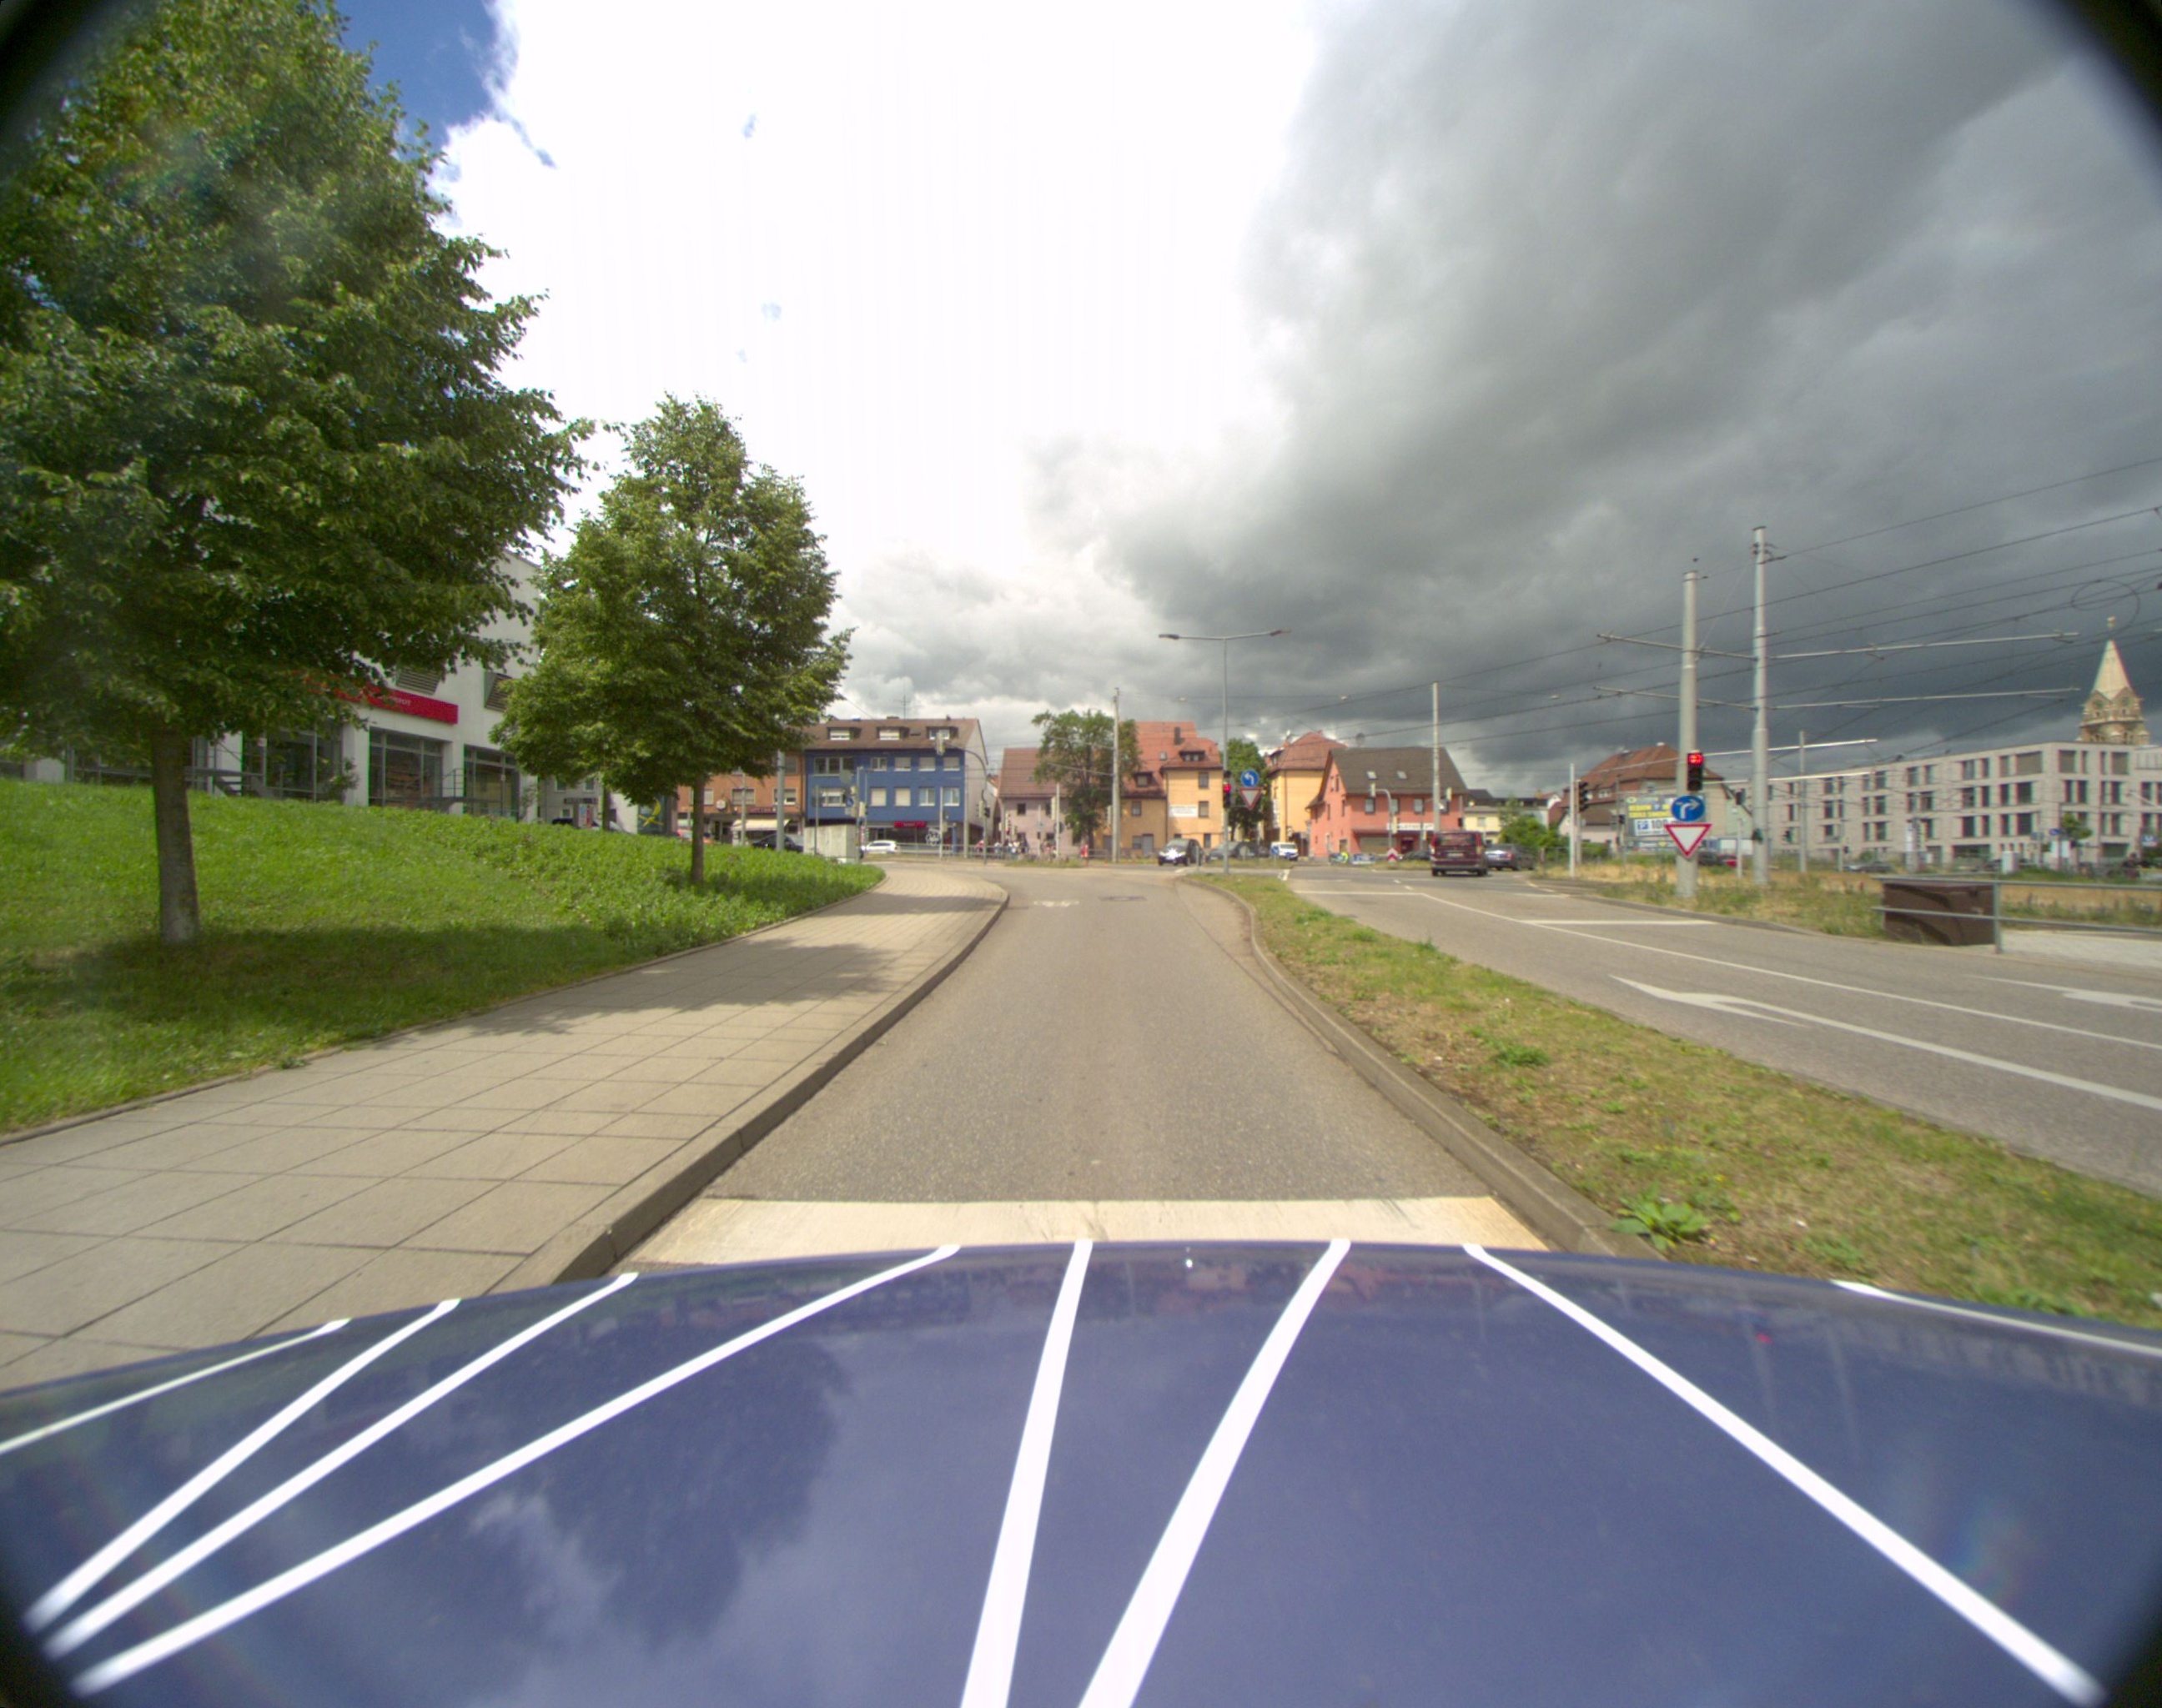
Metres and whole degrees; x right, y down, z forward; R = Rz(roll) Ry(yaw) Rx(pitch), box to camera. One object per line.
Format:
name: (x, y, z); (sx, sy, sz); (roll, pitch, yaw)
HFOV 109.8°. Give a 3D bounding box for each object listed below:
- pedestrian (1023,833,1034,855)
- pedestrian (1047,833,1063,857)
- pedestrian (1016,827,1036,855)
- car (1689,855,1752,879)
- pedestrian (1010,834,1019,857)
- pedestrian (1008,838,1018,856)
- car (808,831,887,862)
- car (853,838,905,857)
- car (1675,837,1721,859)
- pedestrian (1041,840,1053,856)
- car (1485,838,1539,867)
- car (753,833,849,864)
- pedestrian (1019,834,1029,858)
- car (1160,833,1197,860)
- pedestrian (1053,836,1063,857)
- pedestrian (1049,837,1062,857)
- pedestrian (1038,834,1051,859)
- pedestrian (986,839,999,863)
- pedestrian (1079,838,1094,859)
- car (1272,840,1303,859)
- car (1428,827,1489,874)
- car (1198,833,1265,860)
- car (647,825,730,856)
pedestrian: (-3.834, -0.719, 55.021); (0.676, 1.557, 0.586); (0, 2, -16)
pedestrian: (-1.856, -0.618, 53.767); (0.893, 1.642, 0.824); (1, 1, -20)
pedestrian: (-3.752, -0.891, 52.137); (0.970, 1.830, 0.823); (3, 0, -41)
car: (53.869, 1.088, 64.044); (4.001, 2.001, 1.998); (0, -1, -11)
pedestrian: (-4.896, -0.629, 55.987); (0.675, 1.740, 0.587); (0, 2, -5)
pedestrian: (-5.155, -0.547, 57.452); (0.675, 1.367, 0.634); (1, 1, -11)
car: (-12.587, -0.424, 40.895); (4.081, 1.430, 1.743); (4, 4, 31)
car: (-17.228, -0.562, 64.911); (3.998, 1.523, 1.712); (1, -1, -3)
car: (45.109, -0.450, 55.538); (4.305, 1.571, 1.806); (-1, 2, -40)
pedestrian: (-2.423, -0.442, 54.466); (0.676, 1.161, 0.586); (0, 1, -27)
car: (22.651, -0.132, 39.819); (1.798, 1.402, 5.062); (2, 3, 36)
car: (-13.912, -0.285, 37.743); (4.312, 1.456, 2.056); (1, 1, 26)
pedestrian: (-4.255, -0.616, 56.608); (0.675, 1.740, 0.587); (0, 2, -5)
car: (5.604, -0.369, 43.130); (1.880, 1.420, 4.004); (0, -1, 10)
pedestrian: (-1.676, -0.528, 56.199); (0.587, 1.518, 0.674); (1, -1, -12)
pedestrian: (-1.895, -0.536, 57.038); (0.777, 1.461, 0.543); (2, 1, 38)
pedestrian: (-2.526, -0.519, 52.683); (0.694, 1.740, 0.750); (1, 1, -24)
pedestrian: (-6.574, -0.229, 56.312); (0.754, 1.740, 0.586); (0, 1, -27)
pedestrian: (0.394, -0.369, 54.628); (0.856, 1.473, 0.740); (0, 1, -27)
car: (21.376, -0.512, 78.902); (2.079, 1.886, 4.662); (-1, 0, 1)
car: (15.783, -0.206, 31.629); (1.994, 1.812, 5.080); (1, 2, 29)
car: (9.790, -0.462, 49.420); (4.429, 1.639, 1.994); (1, -1, -41)
car: (-21.532, -0.684, 41.691); (3.990, 1.632, 2.004); (0, 0, 25)
